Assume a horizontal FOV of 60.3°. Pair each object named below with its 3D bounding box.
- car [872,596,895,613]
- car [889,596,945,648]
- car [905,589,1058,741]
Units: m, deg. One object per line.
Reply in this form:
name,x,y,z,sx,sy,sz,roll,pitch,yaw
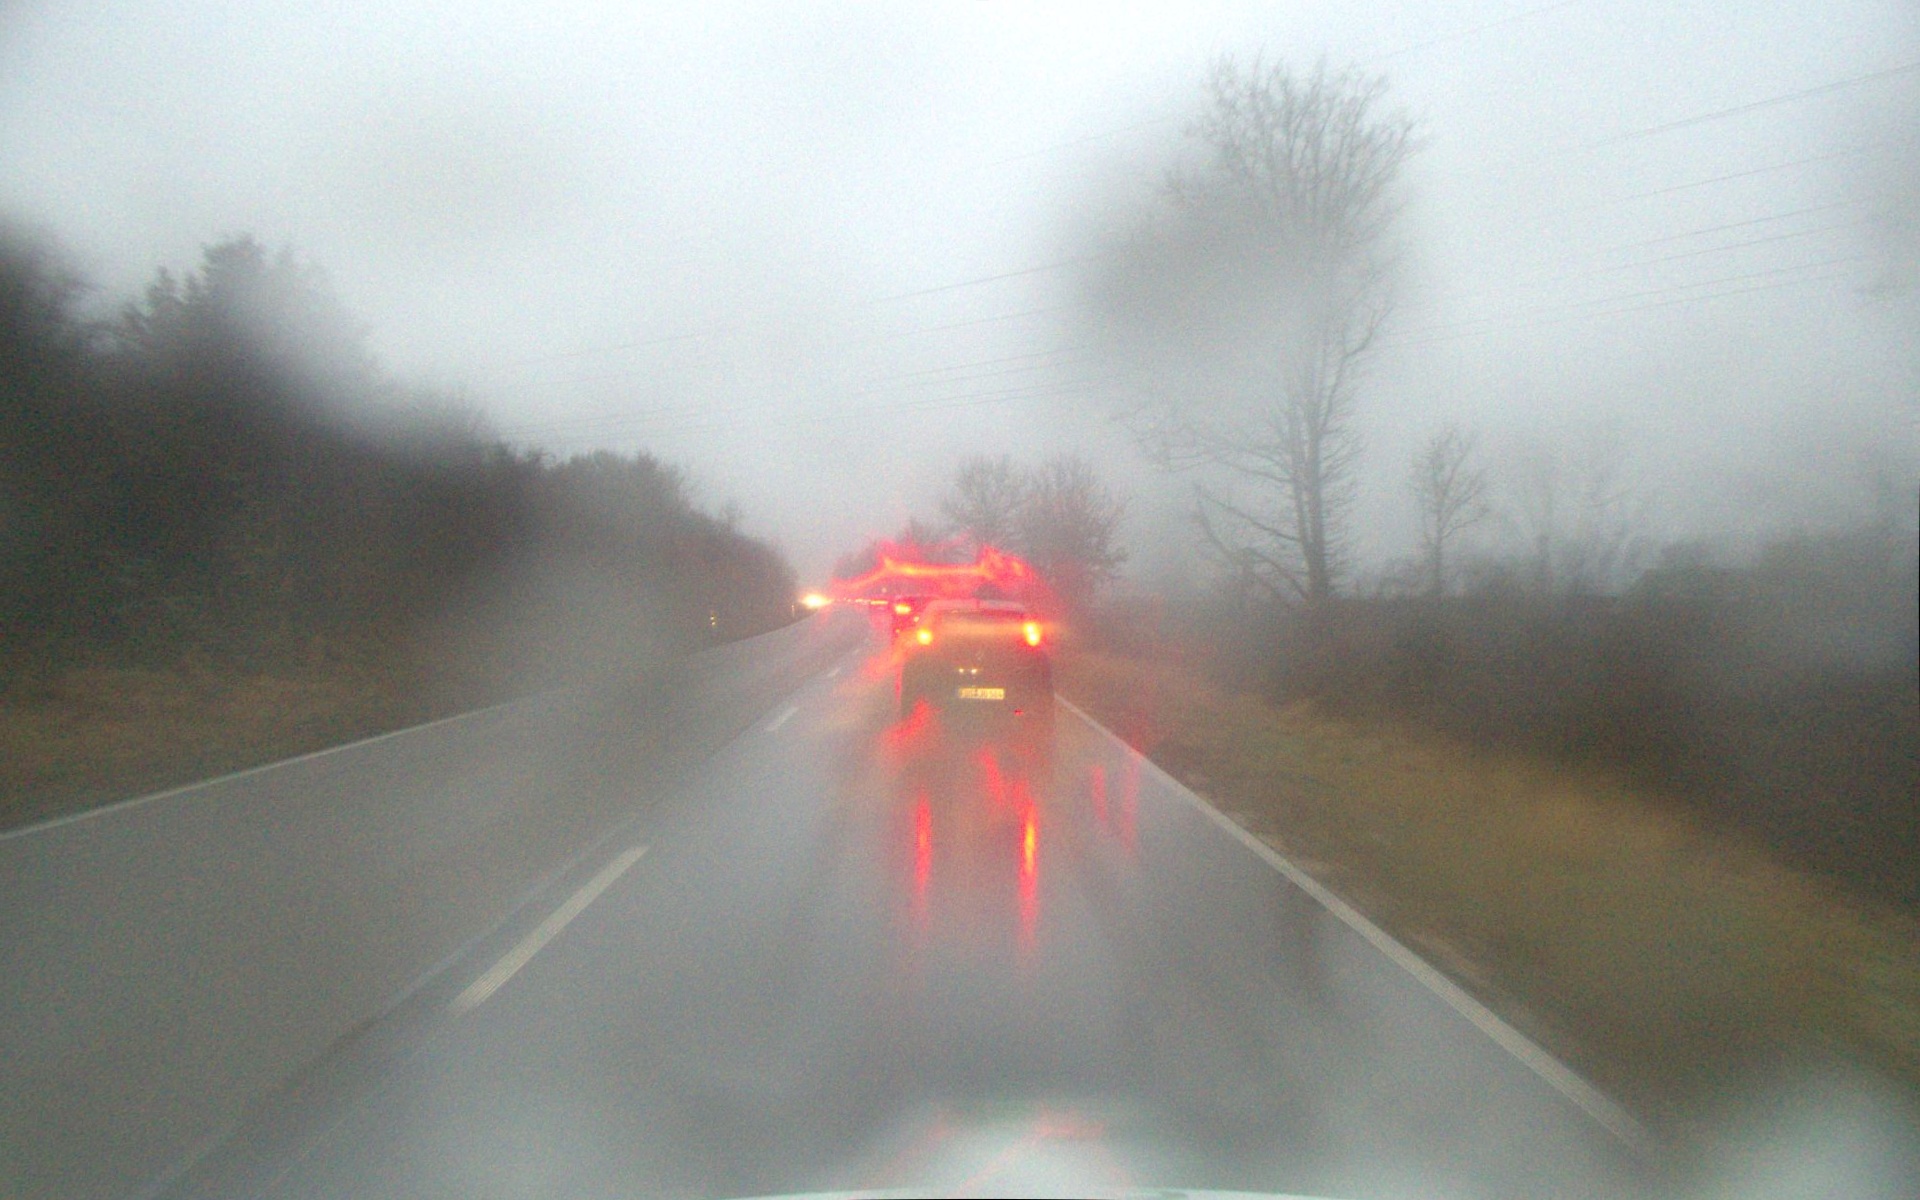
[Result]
car,-6.571,0.384,142.013,1.514,1.421,3.871,1,0,4
car,-1.197,0.612,47.604,1.515,1.421,3.869,1,0,0
car,0.197,0.666,19.022,1.570,1.549,3.869,1,0,-1
